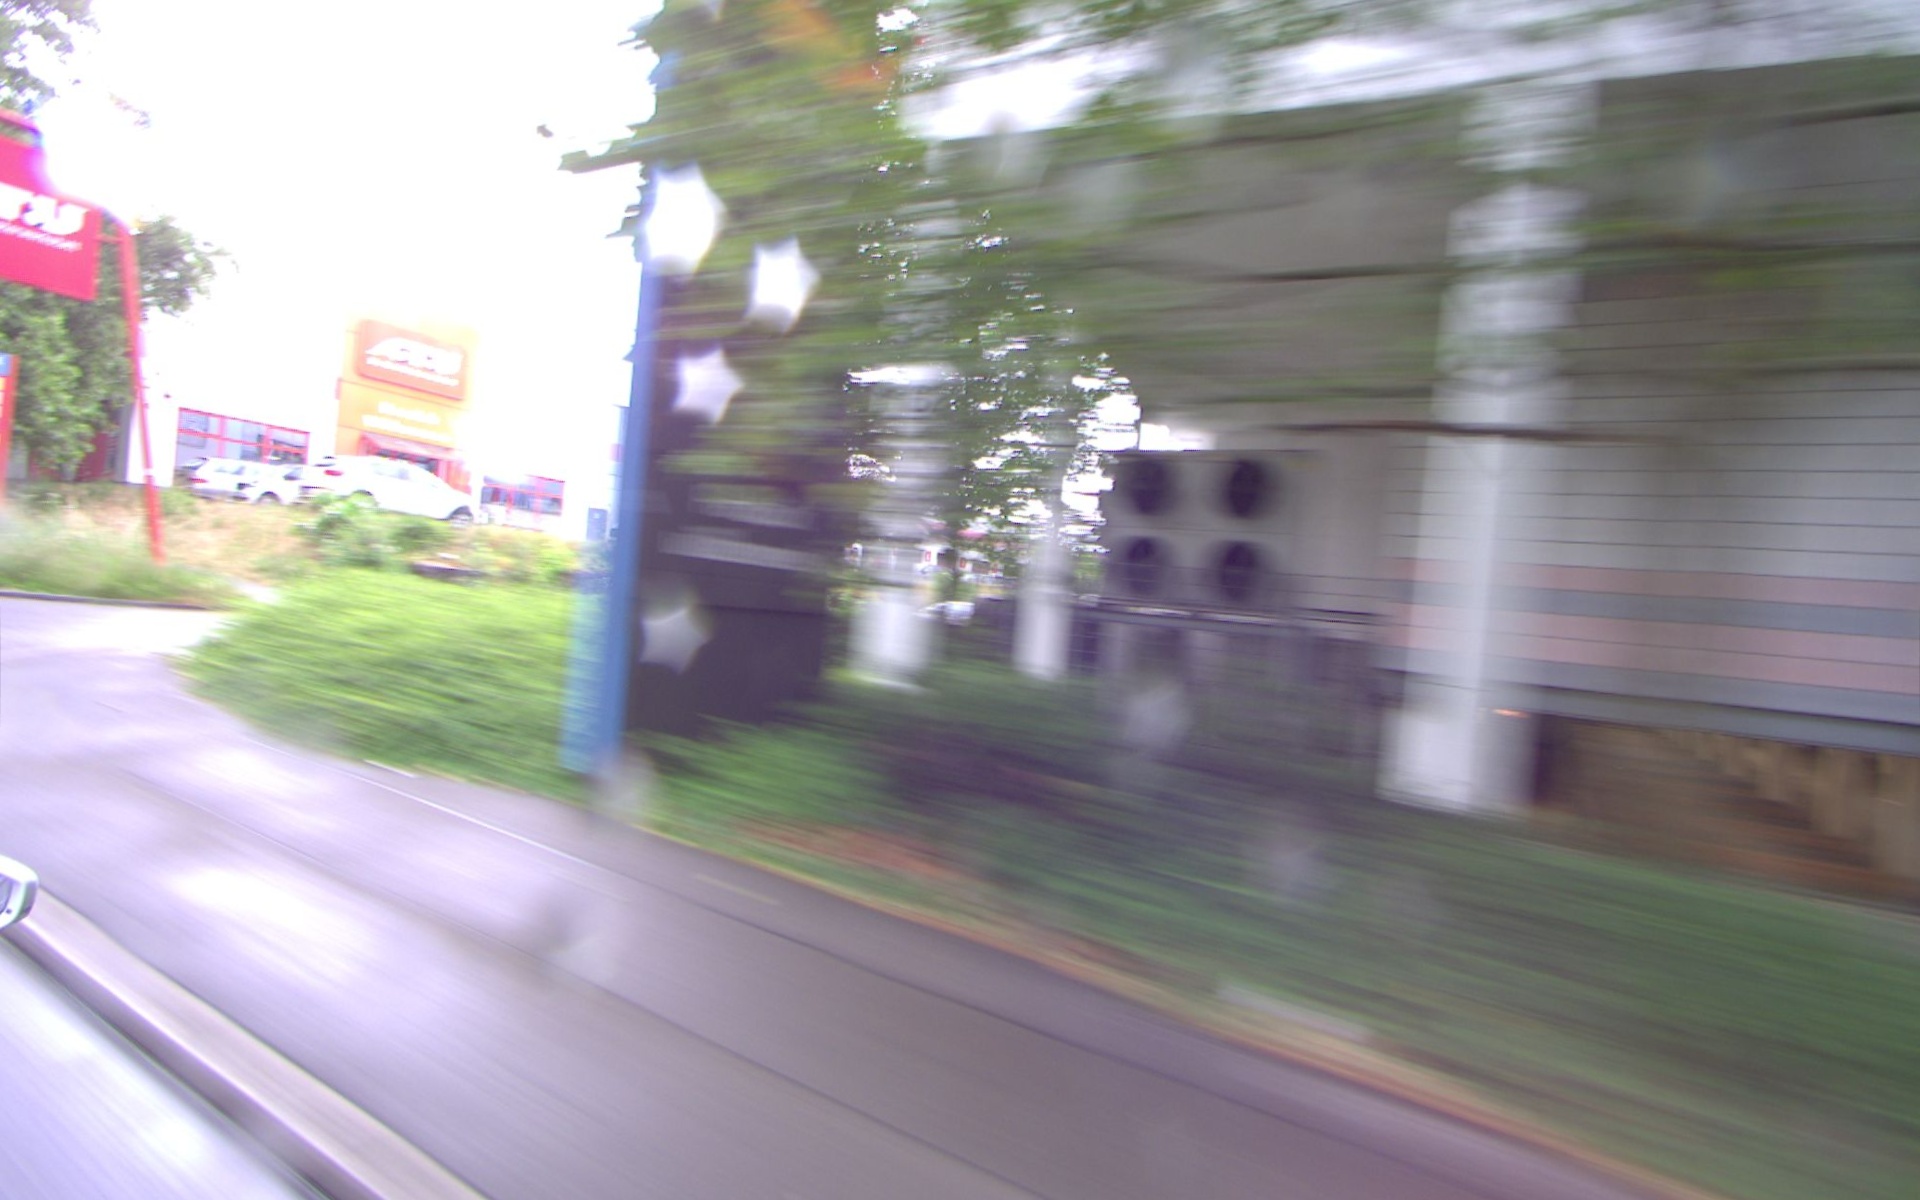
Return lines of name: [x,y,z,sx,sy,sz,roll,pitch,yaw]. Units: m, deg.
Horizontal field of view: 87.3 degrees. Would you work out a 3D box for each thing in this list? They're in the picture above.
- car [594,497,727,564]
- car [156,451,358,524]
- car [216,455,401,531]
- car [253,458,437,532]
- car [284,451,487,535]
car: [-11.283,-2.583,38.251,1.882,1.805,4.778,7,0,28]
car: [-21.075,-3.338,30.386,1.771,1.350,4.617,7,-1,31]
car: [-19.035,-3.099,29.561,1.854,1.485,4.104,7,0,33]
car: [-17.080,-2.893,28.102,1.803,1.308,3.924,6,-2,33]
car: [-14.901,-2.753,26.306,1.872,1.392,4.106,6,-2,33]
